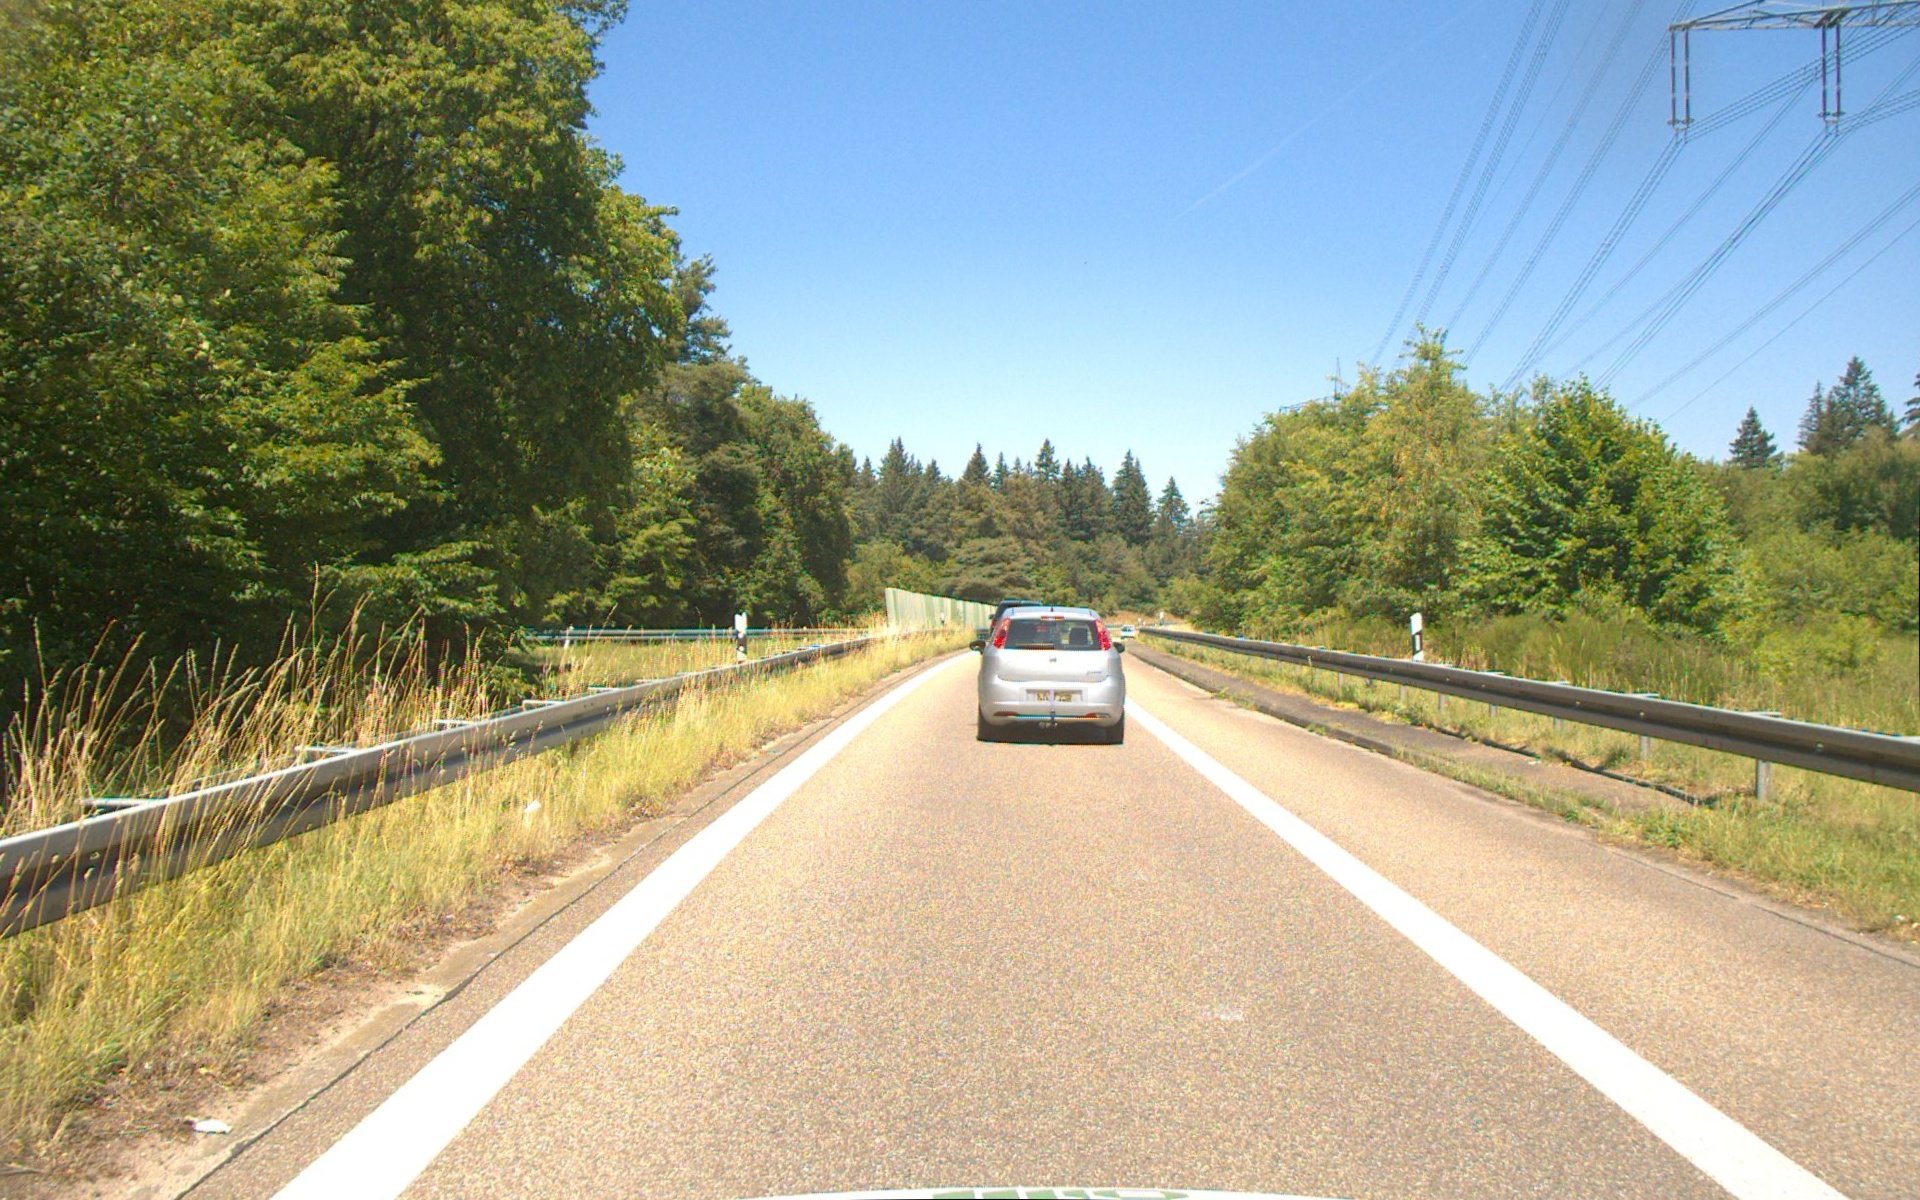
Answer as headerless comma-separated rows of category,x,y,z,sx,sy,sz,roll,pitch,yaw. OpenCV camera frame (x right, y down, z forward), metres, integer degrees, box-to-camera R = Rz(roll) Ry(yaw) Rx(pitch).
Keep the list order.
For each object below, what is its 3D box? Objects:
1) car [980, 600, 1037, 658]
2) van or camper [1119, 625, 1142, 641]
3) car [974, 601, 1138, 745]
car,1.501,0.864,50.911,1.671,1.705,3.398,1,0,2
van or camper,17.657,3.412,171.480,1.768,1.512,4.003,0,0,15
car,1.036,0.787,19.317,1.671,1.508,3.397,1,0,-1
